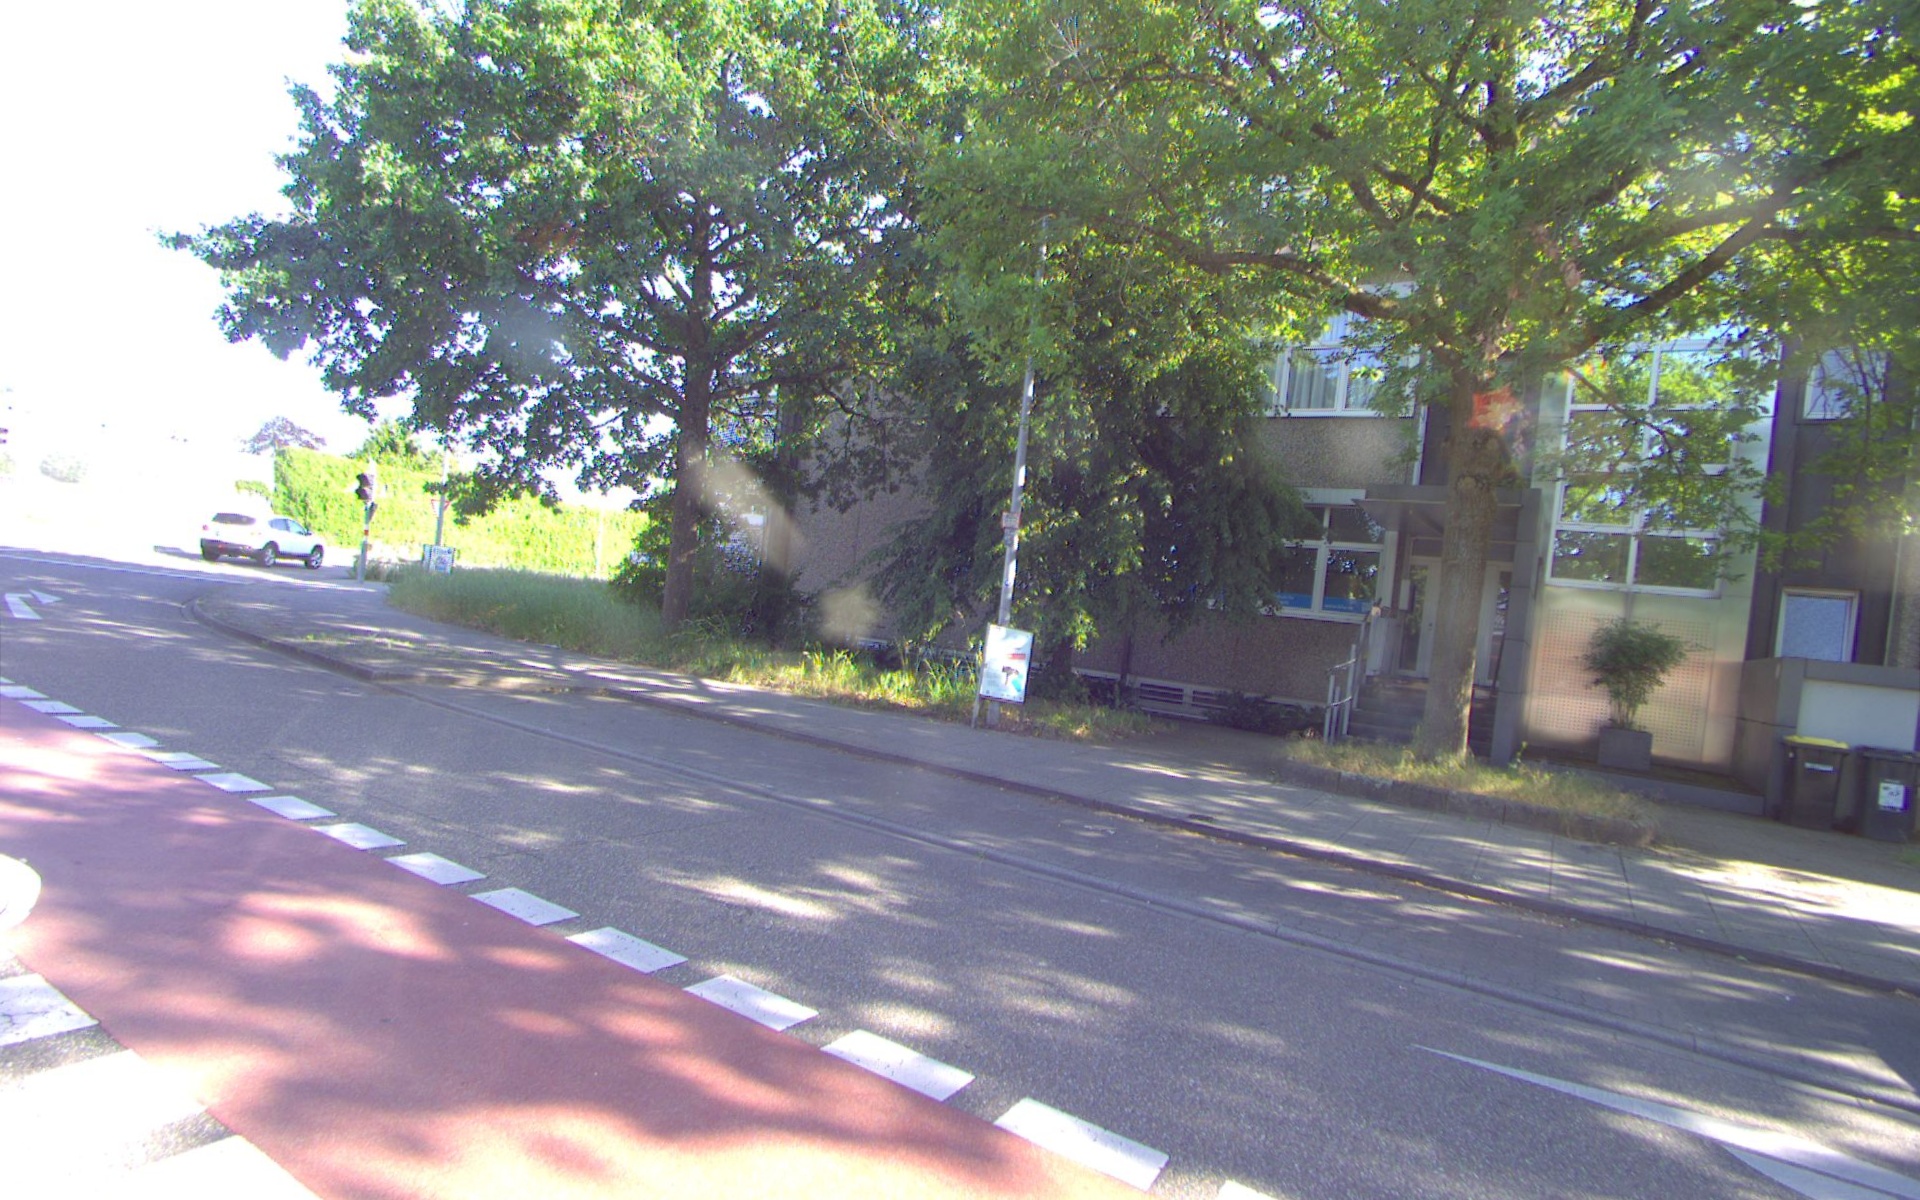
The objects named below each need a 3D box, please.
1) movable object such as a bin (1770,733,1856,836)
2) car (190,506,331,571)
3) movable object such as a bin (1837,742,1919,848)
[{"bbox_3d":[10.168,2.183,12.015,0.575,1.070,0.625,7,0,30],"label":"movable object such as a bin"},{"bbox_3d":[-21.433,-1.841,31.048,1.693,1.627,4.061,7,1,-6],"label":"car"},{"bbox_3d":[10.757,2.251,11.722,0.605,1.075,0.634,6,0,30],"label":"movable object such as a bin"}]
